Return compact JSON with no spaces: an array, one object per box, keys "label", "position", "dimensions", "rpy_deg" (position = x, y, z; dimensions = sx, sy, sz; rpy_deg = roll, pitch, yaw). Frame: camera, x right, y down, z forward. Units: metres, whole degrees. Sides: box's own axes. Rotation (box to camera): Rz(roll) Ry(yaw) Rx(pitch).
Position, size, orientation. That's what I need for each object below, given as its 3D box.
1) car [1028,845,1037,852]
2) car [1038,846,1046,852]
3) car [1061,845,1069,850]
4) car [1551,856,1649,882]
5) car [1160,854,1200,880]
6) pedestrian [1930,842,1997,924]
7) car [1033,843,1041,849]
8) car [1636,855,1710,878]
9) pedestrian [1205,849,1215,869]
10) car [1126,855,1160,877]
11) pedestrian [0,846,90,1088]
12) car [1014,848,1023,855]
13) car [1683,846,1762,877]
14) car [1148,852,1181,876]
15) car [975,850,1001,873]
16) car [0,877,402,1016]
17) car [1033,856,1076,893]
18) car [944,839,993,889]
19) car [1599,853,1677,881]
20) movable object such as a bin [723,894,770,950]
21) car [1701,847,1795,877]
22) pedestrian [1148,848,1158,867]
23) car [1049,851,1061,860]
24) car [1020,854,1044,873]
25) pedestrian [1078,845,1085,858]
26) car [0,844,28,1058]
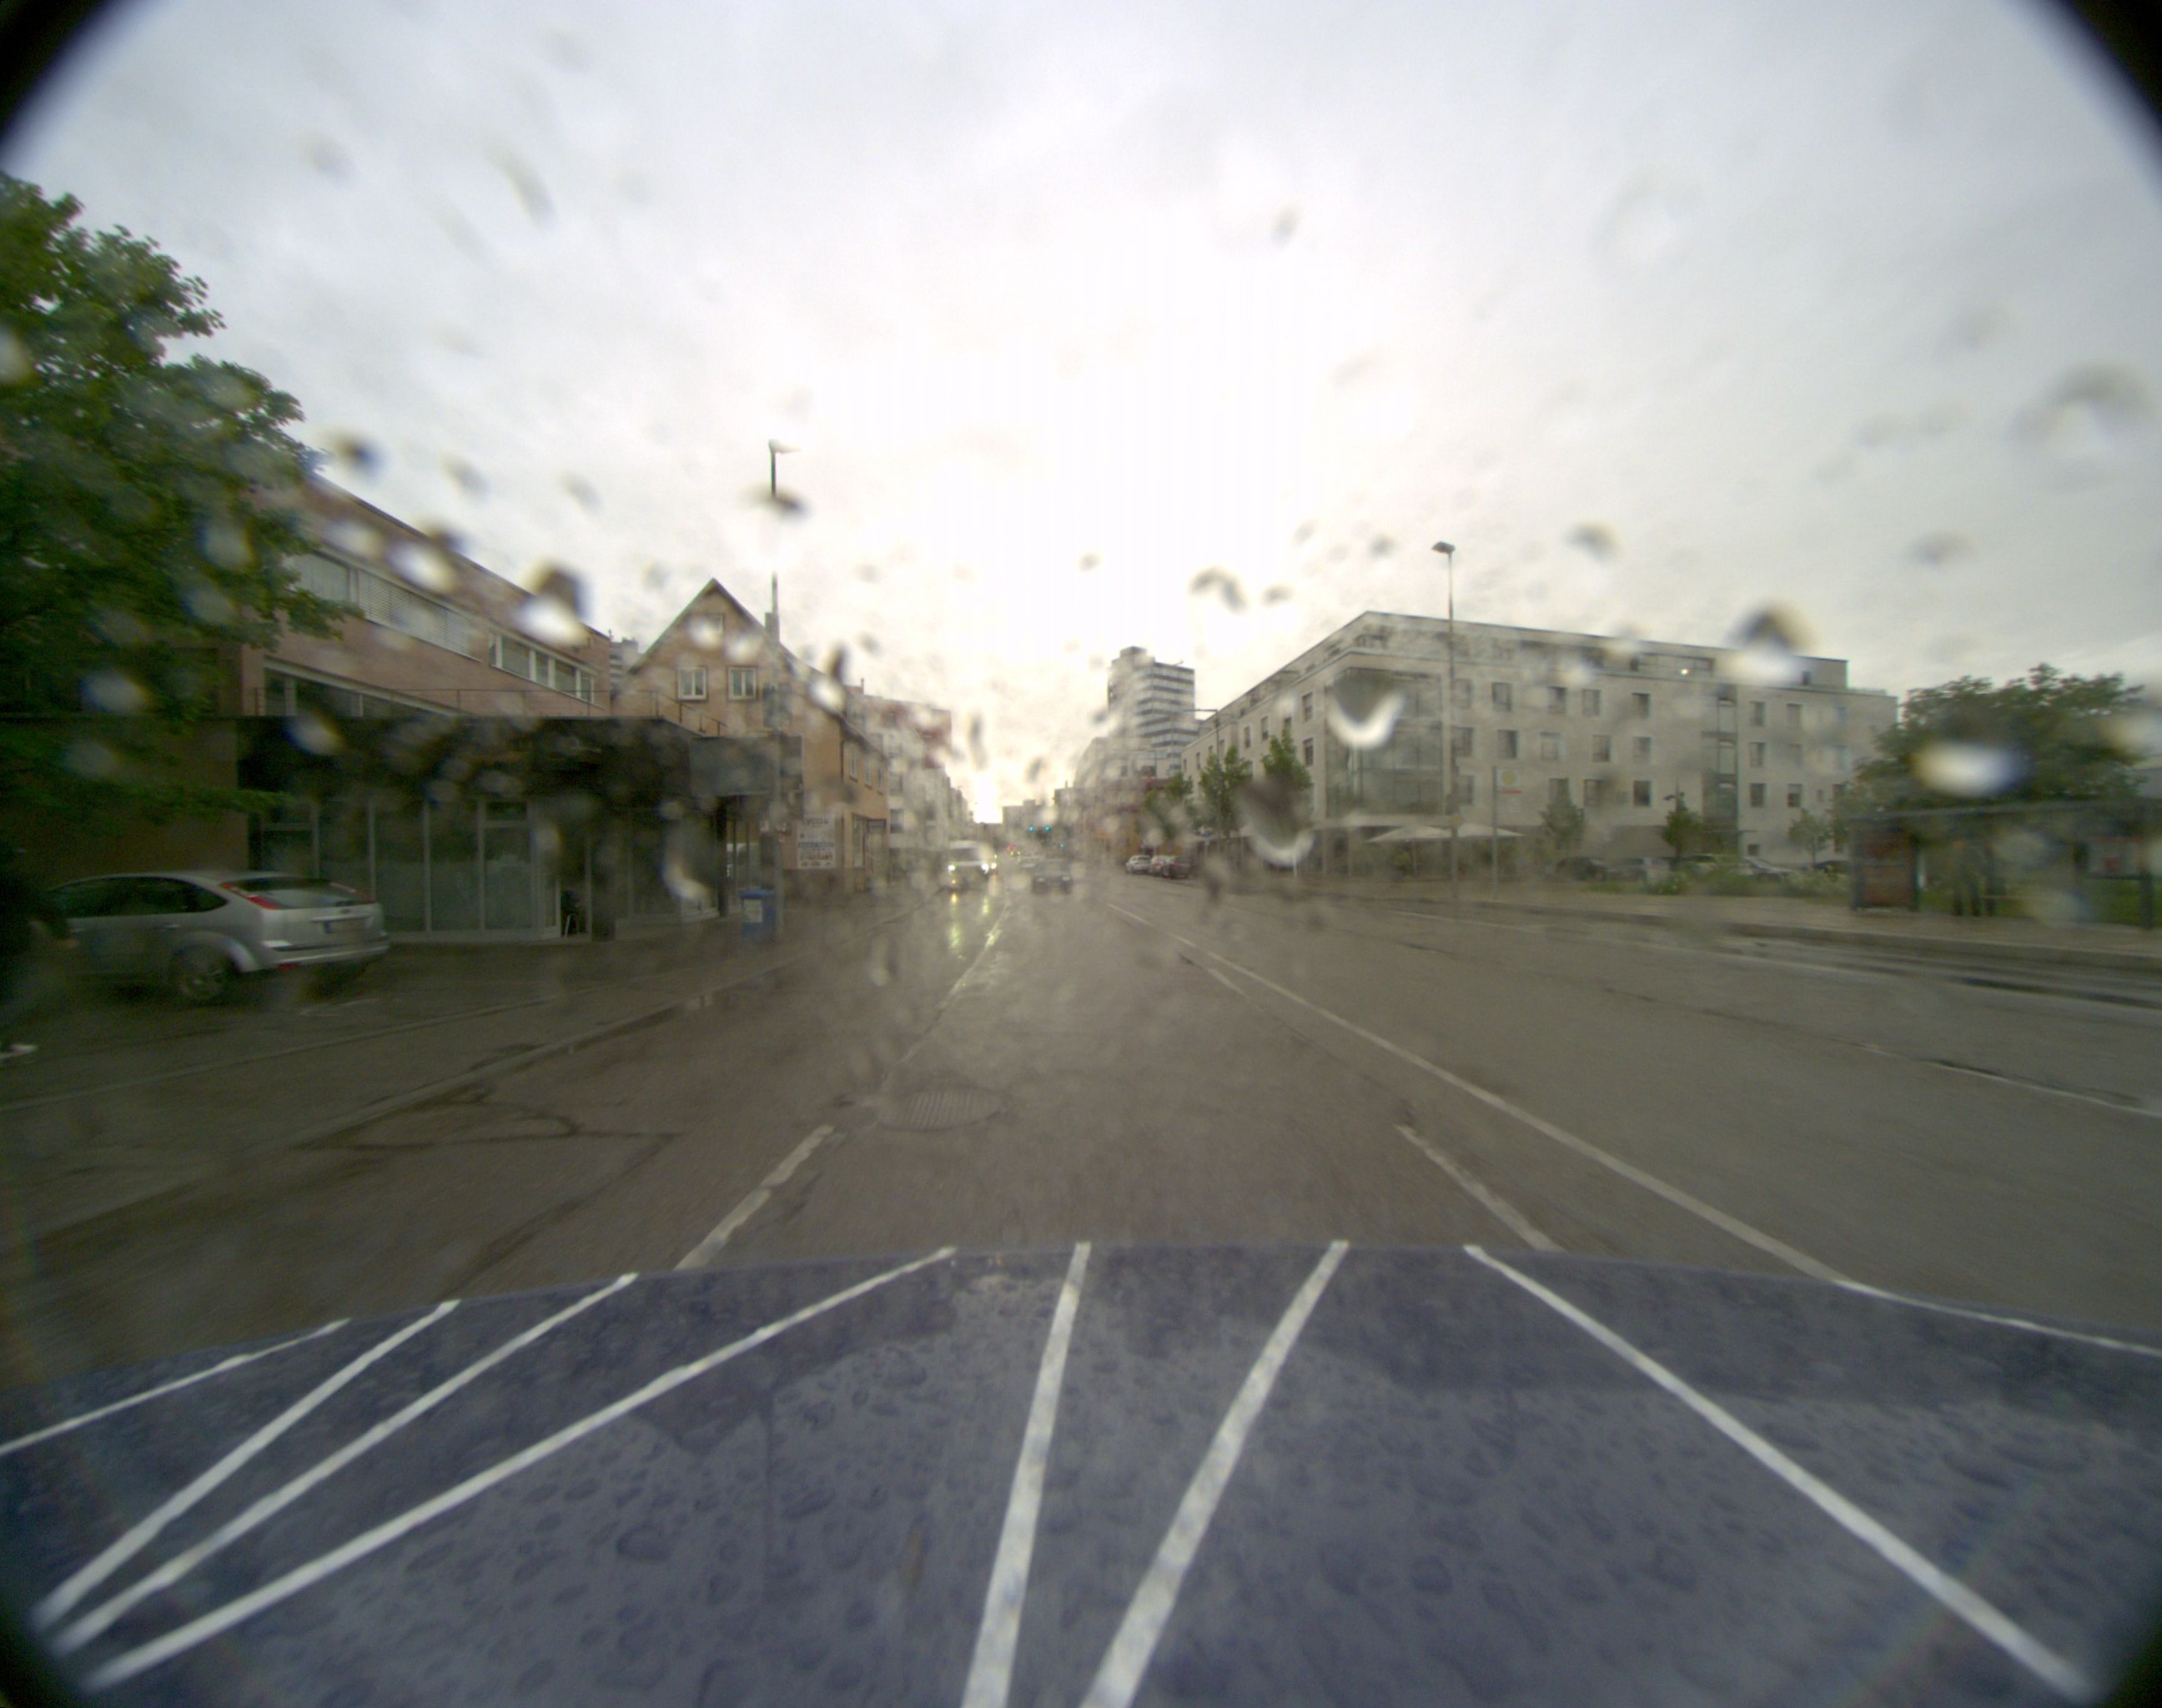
[{"label":"car","position":[-10.682,-1.262,165.853],"dimensions":[1.773,1.406,4.521],"rpy_deg":[0,2,-6]},{"label":"car","position":[-9.313,-1.214,179.531],"dimensions":[1.654,1.410,4.135],"rpy_deg":[2,2,-5]},{"label":"car","position":[-4.402,-1.716,207.800],"dimensions":[1.758,1.402,3.727],"rpy_deg":[0,2,-6]},{"label":"car","position":[30.174,0.853,44.372],"dimensions":[1.796,1.288,4.461],"rpy_deg":[-1,2,-22]},{"label":"car","position":[6.329,0.831,49.211],"dimensions":[1.592,1.573,4.468],"rpy_deg":[0,0,-6]},{"label":"pedestrian","position":[19.263,0.618,16.596],"dimensions":[0.786,1.735,0.672],"rpy_deg":[-1,2,-20]},{"label":"car","position":[-12.425,-2.159,215.141],"dimensions":[2.006,1.609,4.945],"rpy_deg":[0,2,-3]},{"label":"car","position":[35.744,0.744,45.990],"dimensions":[1.399,1.214,3.253],"rpy_deg":[-1,2,-22]},{"label":"pedestrian","position":[11.336,0.450,67.004],"dimensions":[0.810,1.728,1.003],"rpy_deg":[0,2,6]},{"label":"car","position":[4.886,0.922,60.760],"dimensions":[1.801,1.454,4.474],"rpy_deg":[-1,2,-8]},{"label":"pedestrian","position":[-8.552,0.858,5.921],"dimensions":[0.711,1.811,0.794],"rpy_deg":[-2,3,-31]},{"label":"car","position":[-13.480,-0.606,163.610],"dimensions":[1.721,1.442,4.193],"rpy_deg":[0,2,-8]},{"label":"car","position":[39.765,0.405,47.180],"dimensions":[1.492,1.766,3.451],"rpy_deg":[-1,2,-22]},{"label":"car","position":[5.984,0.697,54.865],"dimensions":[1.696,1.501,4.574],"rpy_deg":[0,2,-3]},{"label":"car","position":[-7.994,0.608,65.050],"dimensions":[2.018,1.613,4.355],"rpy_deg":[-2,3,-8]},{"label":"car","position":[-10.873,1.021,9.039],"dimensions":[3.997,1.439,1.746],"rpy_deg":[0,0,0]},{"label":"car","position":[-1.231,0.867,34.059],"dimensions":[1.689,1.373,3.791],"rpy_deg":[-2,2,-5]},{"label":"car","position":[-5.853,0.408,40.437],"dimensions":[2.298,2.369,6.619],"rpy_deg":[0,2,-6]},{"label":"car","position":[32.953,0.744,45.065],"dimensions":[1.503,1.451,3.427],"rpy_deg":[-1,2,-23]},{"label":"movable object such as a bin","position":[-6.670,1.343,15.164],"dimensions":[0.638,1.068,0.698],"rpy_deg":[0,-1,-2]},{"label":"car","position":[42.093,0.458,48.048],"dimensions":[2.002,1.680,3.991],"rpy_deg":[-1,2,-23]},{"label":"pedestrian","position":[6.936,0.309,73.370],"dimensions":[0.803,1.778,0.881],"rpy_deg":[0,2,-2]},{"label":"car","position":[-4.485,0.243,130.102],"dimensions":[1.886,1.515,4.180],"rpy_deg":[0,2,-5]},{"label":"car","position":[-3.935,0.746,60.536],"dimensions":[1.663,1.300,3.991],"rpy_deg":[0,2,-7]},{"label":"pedestrian","position":[0.065,-0.402,117.838],"dimensions":[0.663,1.911,0.945],"rpy_deg":[-3,3,-14]},{"label":"car","position":[-11.444,0.848,5.813],"dimensions":[4.105,1.860,1.876],"rpy_deg":[0,0,0]}]
